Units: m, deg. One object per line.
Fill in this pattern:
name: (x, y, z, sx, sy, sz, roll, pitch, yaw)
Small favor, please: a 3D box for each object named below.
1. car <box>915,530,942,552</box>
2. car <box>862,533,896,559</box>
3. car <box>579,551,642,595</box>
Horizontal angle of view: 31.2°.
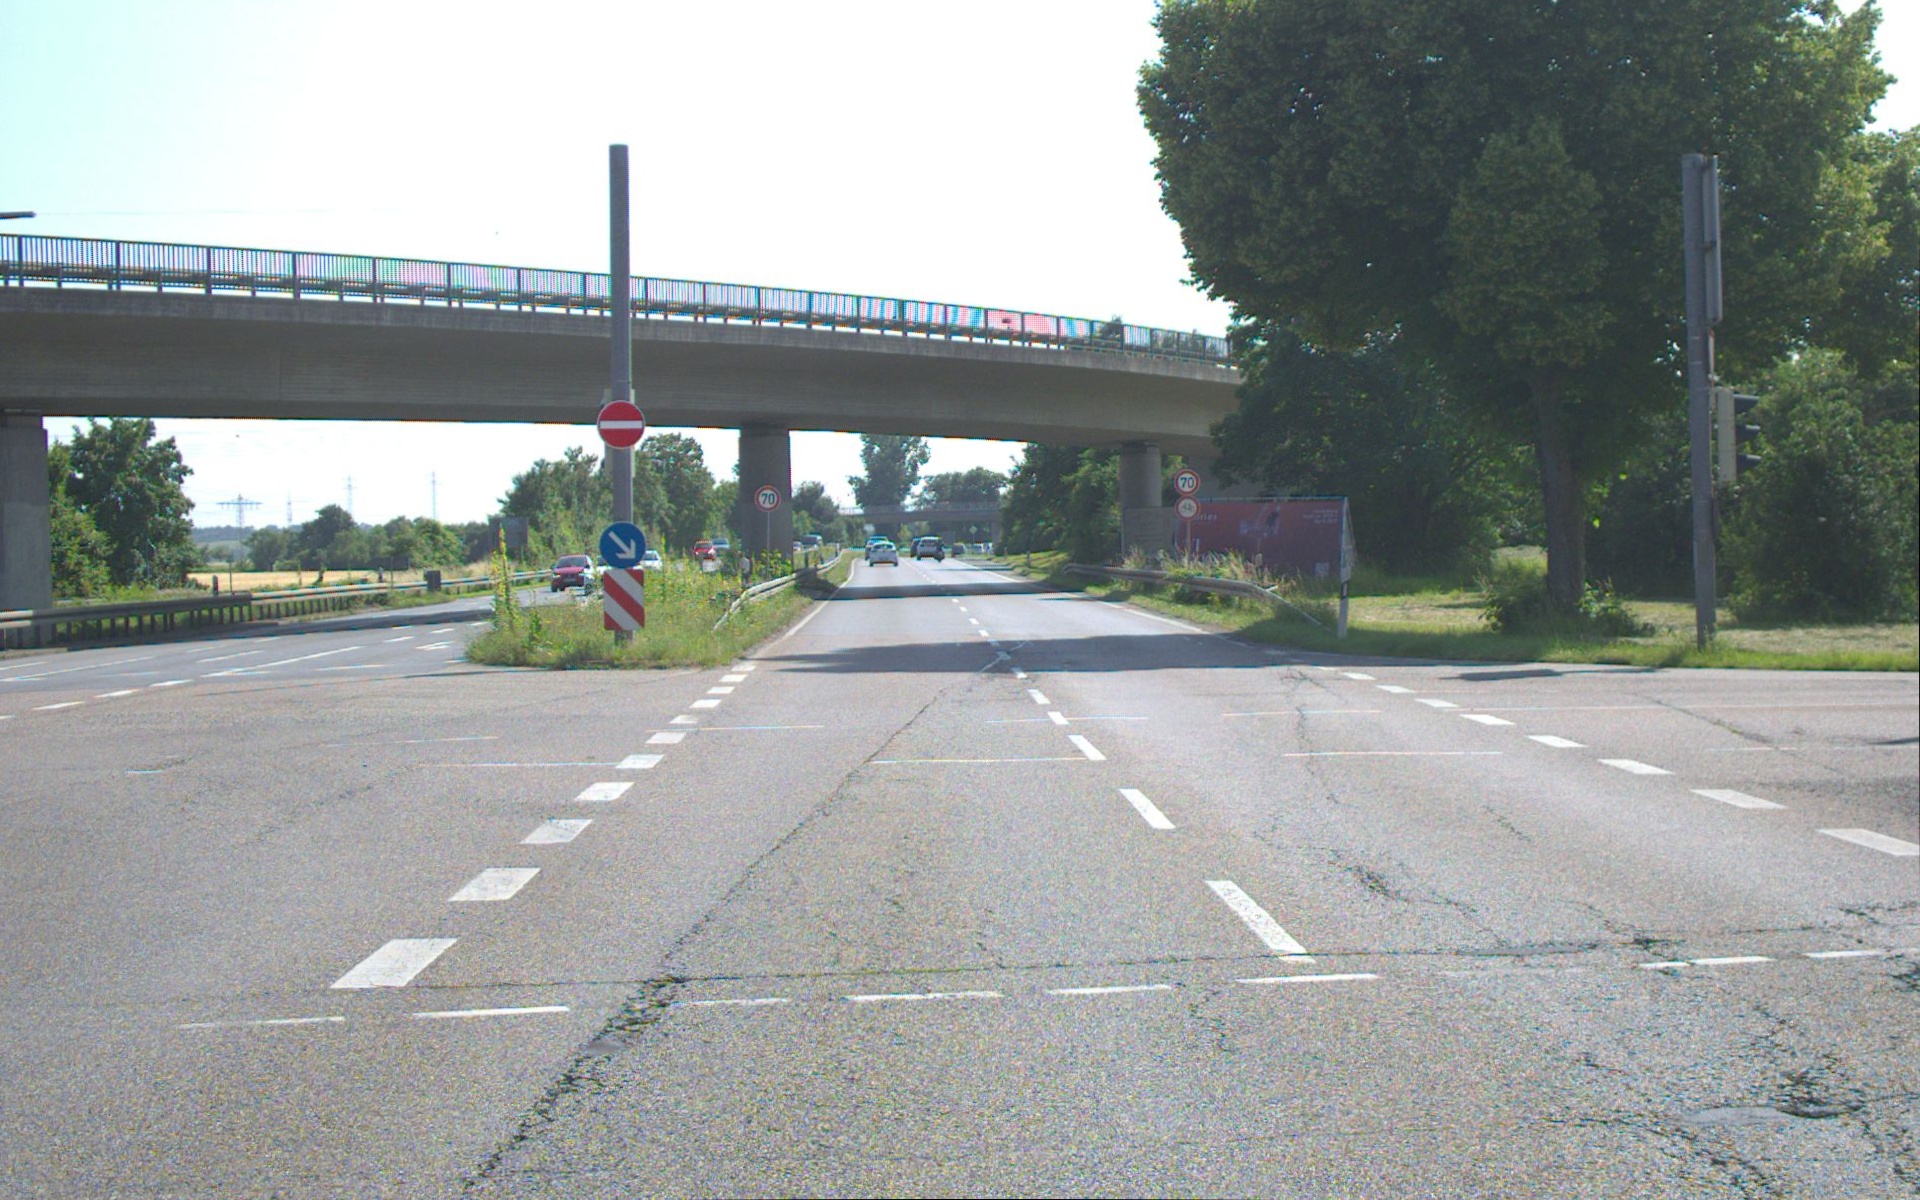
car: (-2.340, -4.387, 254.696, 1.873, 1.634, 4.000, -1, 1, 1)
car: (-4.885, -3.279, 206.827, 1.851, 1.456, 4.000, -3, 1, 1)
car: (-12.514, -0.972, 123.302, 1.856, 1.443, 4.241, -3, 1, -1)
